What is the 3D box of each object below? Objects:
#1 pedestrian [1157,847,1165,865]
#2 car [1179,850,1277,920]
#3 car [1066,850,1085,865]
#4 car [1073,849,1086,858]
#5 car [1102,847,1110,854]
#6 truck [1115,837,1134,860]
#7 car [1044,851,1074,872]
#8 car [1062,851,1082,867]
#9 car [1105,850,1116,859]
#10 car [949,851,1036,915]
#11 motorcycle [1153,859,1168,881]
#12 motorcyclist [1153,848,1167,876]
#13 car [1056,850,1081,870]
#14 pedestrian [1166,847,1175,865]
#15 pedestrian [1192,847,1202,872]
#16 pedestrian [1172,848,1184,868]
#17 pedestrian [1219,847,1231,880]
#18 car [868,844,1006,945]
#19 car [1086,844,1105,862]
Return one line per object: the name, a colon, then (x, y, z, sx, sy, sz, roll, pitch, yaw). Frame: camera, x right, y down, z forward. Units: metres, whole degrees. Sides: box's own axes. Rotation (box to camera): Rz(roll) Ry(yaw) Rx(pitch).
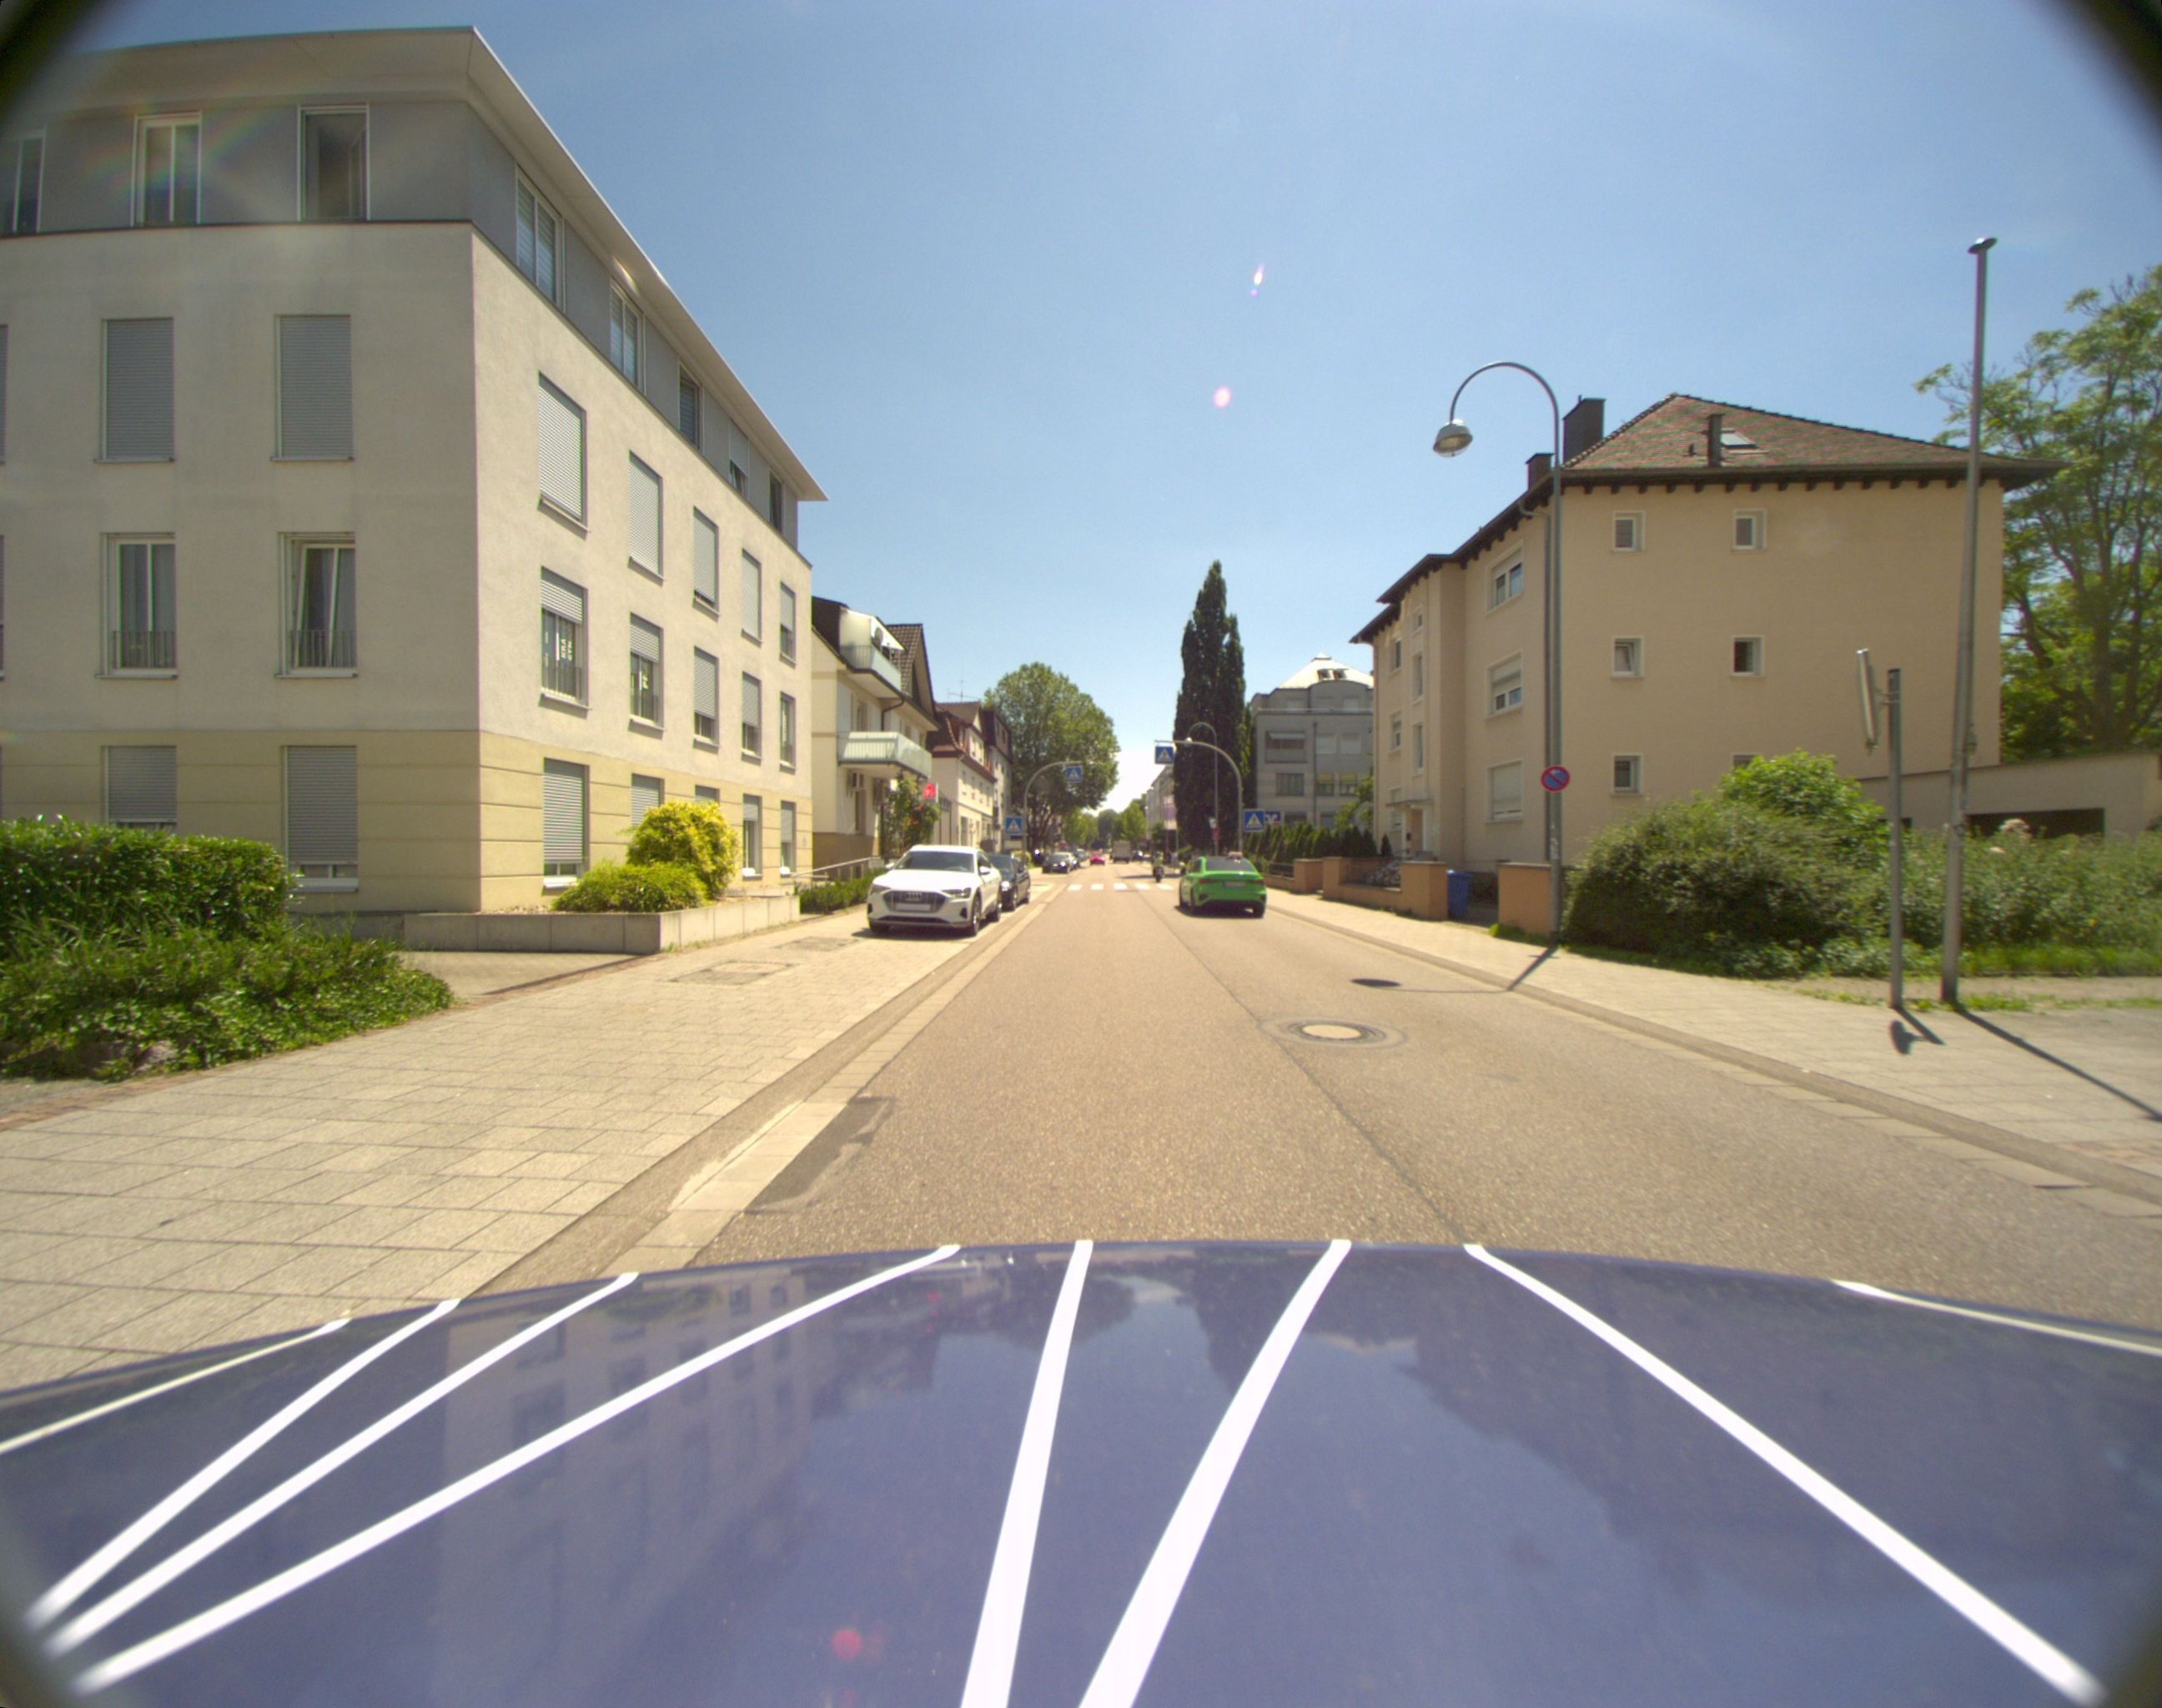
pedestrian: (7.701, 0.205, 72.760, 0.622, 1.667, 0.903, -2, 1, 1)
car: (3.664, 0.703, 19.616, 1.827, 1.579, 4.100, 1, 1, 1)
car: (-0.605, 0.342, 78.225, 1.834, 1.502, 4.758, 0, 0, -1)
car: (-0.213, -0.102, 112.122, 1.818, 1.379, 4.115, 0, 0, 1)
car: (6.045, -0.943, 181.052, 1.731, 1.500, 4.293, -3, 1, 0)
truck: (5.840, -0.782, 102.738, 2.425, 2.966, 6.258, 0, 0, 3)
car: (-1.549, 0.508, 54.986, 1.831, 1.418, 4.700, 1, 1, 2)
car: (-0.769, 0.438, 67.518, 1.561, 1.333, 4.173, 1, 1, 1)
car: (5.406, 0.054, 140.234, 1.834, 1.502, 4.262, 0, 0, 1)
car: (-2.363, 0.728, 21.485, 1.709, 1.547, 4.748, 2, 0, 2)
motorcycle: (4.063, 0.809, 39.003, 0.700, 1.101, 1.790, 0, 0, 4)
motorcyclist: (4.062, 0.409, 39.037, 0.700, 1.425, 0.707, 0, 1, 4)
car: (-0.945, 0.455, 60.883, 1.748, 1.460, 4.852, 2, 1, 2)
pedestrian: (8.558, 0.192, 72.625, 0.750, 1.760, 0.951, -1, 1, 1)
pedestrian: (7.801, 0.378, 50.995, 0.538, 1.675, 0.708, -1, 1, 1)
pedestrian: (8.246, 0.315, 64.562, 0.847, 1.635, 0.751, -3, 1, 3)
pedestrian: (7.467, 0.482, 39.404, 0.538, 1.675, 0.708, -1, 1, 1)
car: (-2.671, 0.667, 15.203, 1.709, 1.656, 4.580, 2, 1, 2)
car: (1.677, -0.144, 87.571, 2.000, 1.880, 4.294, -2, 1, 1)
